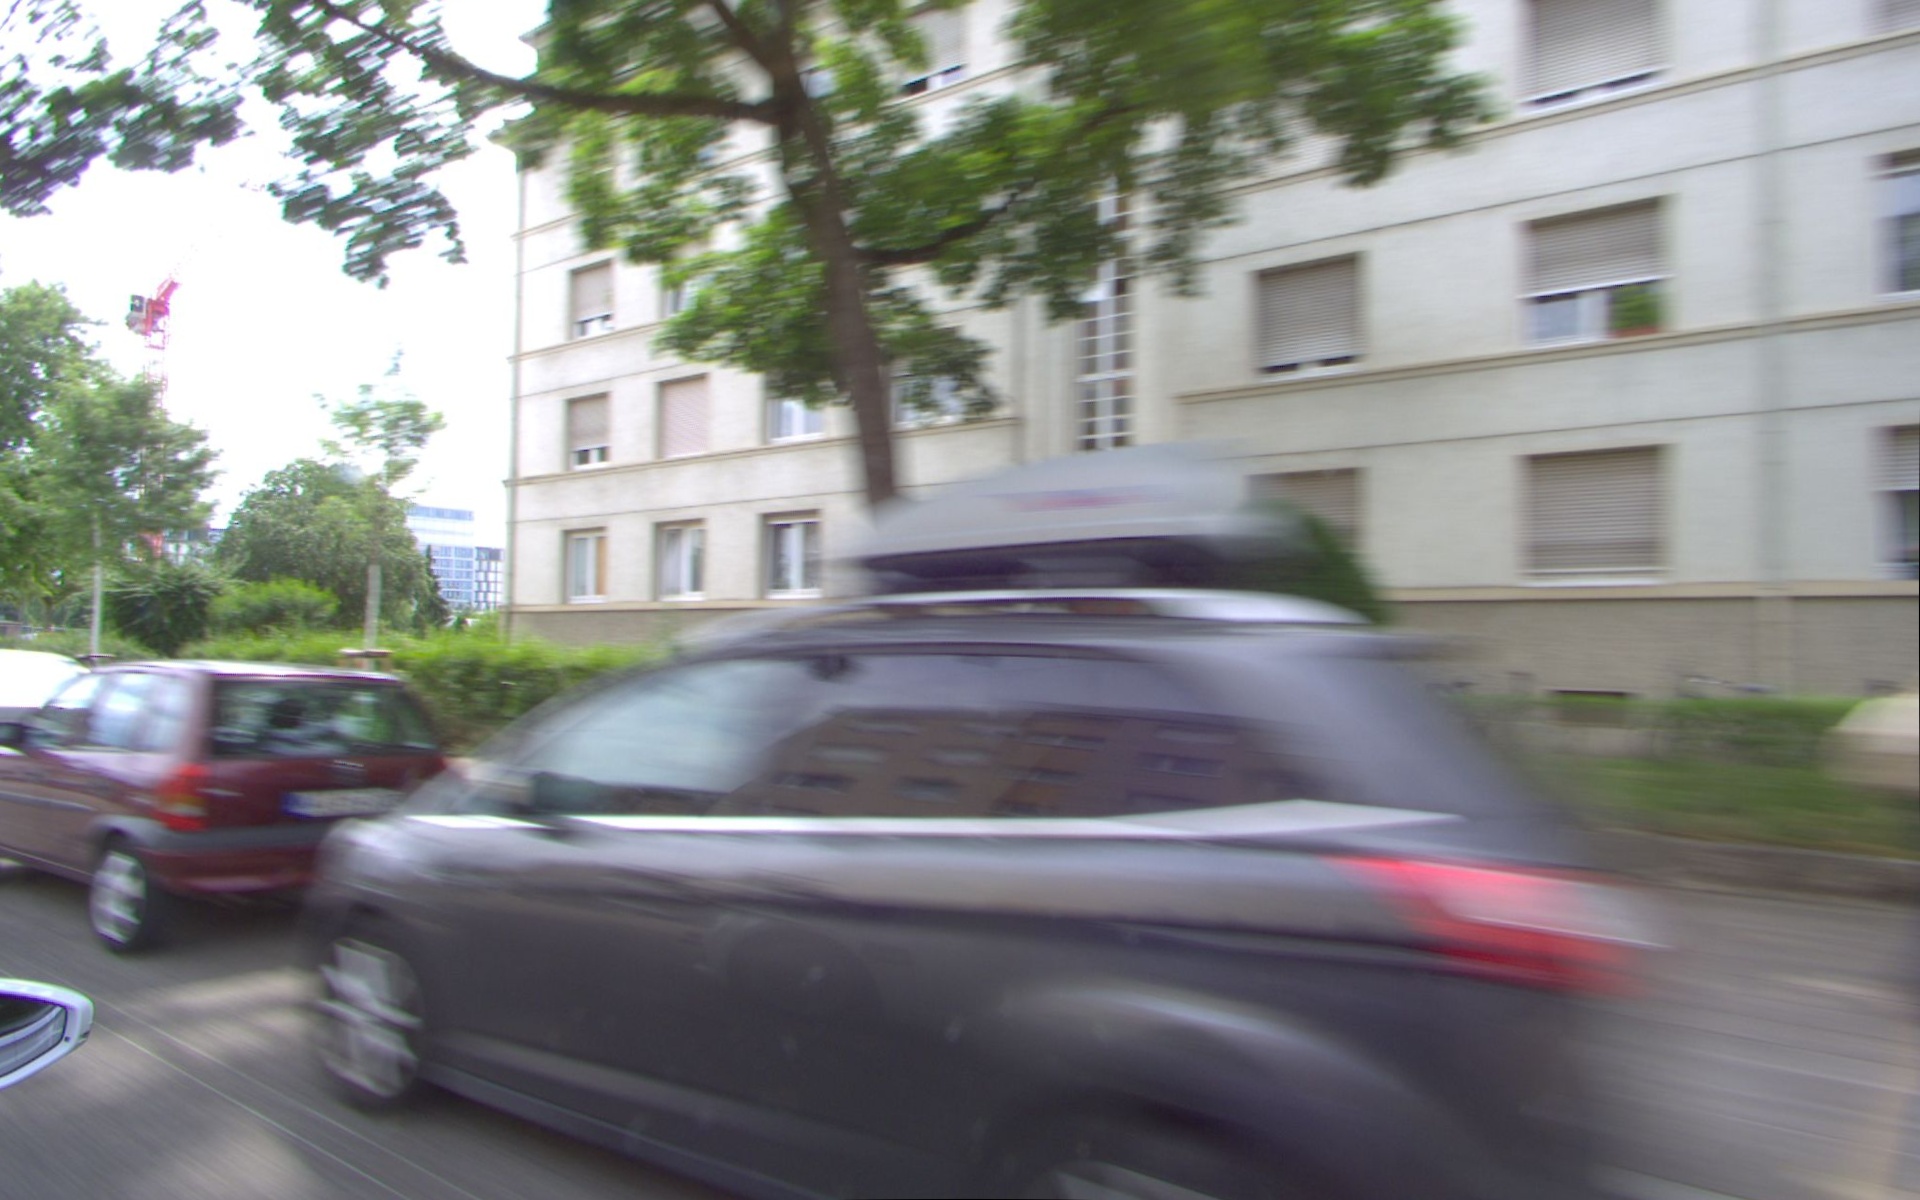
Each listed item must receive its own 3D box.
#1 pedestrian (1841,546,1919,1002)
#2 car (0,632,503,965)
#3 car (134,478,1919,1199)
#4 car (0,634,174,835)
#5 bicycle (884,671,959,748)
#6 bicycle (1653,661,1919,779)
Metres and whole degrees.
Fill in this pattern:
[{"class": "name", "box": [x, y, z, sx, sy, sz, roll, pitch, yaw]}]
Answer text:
[{"class": "pedestrian", "box": [4.144, 0.712, 4.186, 0.515, 1.851, 0.522, 1, -1, -25]}, {"class": "car", "box": [-4.909, 0.994, 6.263, 3.941, 1.482, 1.712, -1, -5, 30]}, {"class": "car", "box": [-0.453, 0.789, 3.460, 5.245, 1.681, 1.927, -1, -5, 30]}, {"class": "car", "box": [-8.959, 1.044, 8.765, 4.488, 1.486, 1.680, -1, -5, 31]}, {"class": "bicycle", "box": [-0.498, 1.453, 13.504, 0.505, 0.928, 1.386, 1, -2, 20]}, {"class": "bicycle", "box": [9.113, 1.285, 11.186, 2.216, 1.126, 0.707, 0, -2, 33]}]
